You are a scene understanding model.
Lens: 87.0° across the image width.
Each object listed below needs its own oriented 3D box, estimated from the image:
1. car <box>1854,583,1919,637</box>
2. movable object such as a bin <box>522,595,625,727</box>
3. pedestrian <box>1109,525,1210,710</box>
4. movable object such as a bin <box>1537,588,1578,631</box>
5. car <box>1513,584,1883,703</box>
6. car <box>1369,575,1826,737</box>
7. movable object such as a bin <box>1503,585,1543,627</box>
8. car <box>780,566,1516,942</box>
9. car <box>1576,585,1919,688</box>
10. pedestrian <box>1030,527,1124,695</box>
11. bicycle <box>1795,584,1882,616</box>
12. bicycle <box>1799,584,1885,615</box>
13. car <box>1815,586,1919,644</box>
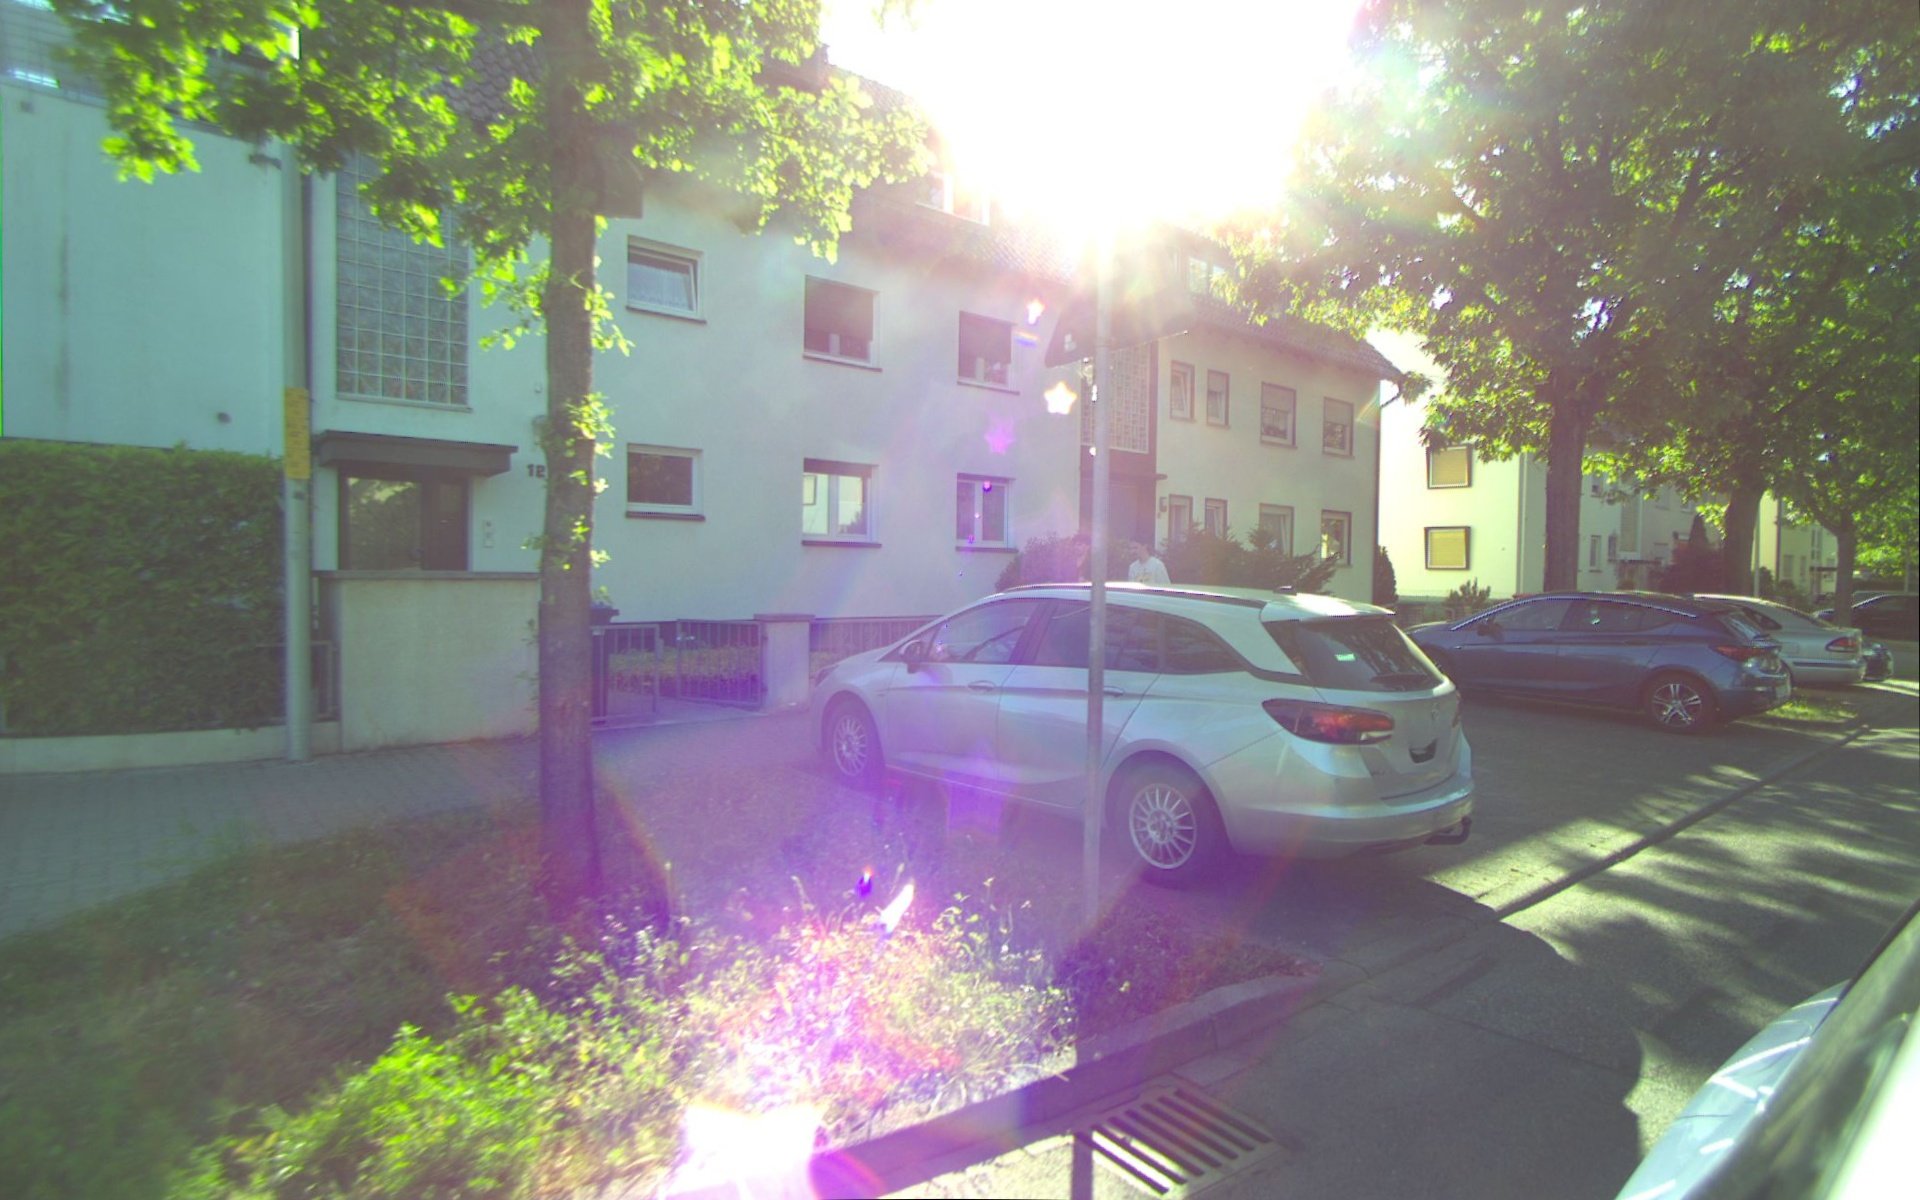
[{"bbox_3d":[31.108,0.332,32.064,1.727,1.643,3.994,-2,3,-41],"label":"car"},{"bbox_3d":[-3.331,0.499,8.730,0.687,1.058,0.535,0,2,-41],"label":"movable object such as a bin"},{"bbox_3d":[2.149,0.162,10.888,0.907,1.896,0.610,-1,2,-37],"label":"pedestrian"},{"bbox_3d":[16.402,0.252,27.790,0.890,1.125,0.704,-1,2,-40],"label":"movable object such as a bin"},{"bbox_3d":[11.036,0.534,15.378,1.767,1.431,4.281,0,2,-43],"label":"car"},{"bbox_3d":[7.380,0.499,12.125,1.764,1.522,4.288,0,2,-38],"label":"car"},{"bbox_3d":[15.822,0.158,28.435,0.890,1.112,0.704,-1,2,-40],"label":"movable object such as a bin"},{"bbox_3d":[0.825,0.584,6.451,1.766,1.510,4.434,0,2,-43],"label":"car"},{"bbox_3d":[13.268,0.502,17.245,1.840,1.379,4.357,-1,3,-39],"label":"car"},{"bbox_3d":[1.342,0.100,11.667,0.698,1.850,0.837,-1,2,-39],"label":"pedestrian"},{"bbox_3d":[39.387,-0.029,45.405,0.459,1.252,2.868,-1,4,-37],"label":"bicycle"},{"bbox_3d":[39.768,-0.035,45.694,0.459,1.252,2.868,-1,4,-37],"label":"bicycle"},{"bbox_3d":[27.015,0.423,28.773,1.631,1.534,3.893,-1,3,-37],"label":"car"}]
